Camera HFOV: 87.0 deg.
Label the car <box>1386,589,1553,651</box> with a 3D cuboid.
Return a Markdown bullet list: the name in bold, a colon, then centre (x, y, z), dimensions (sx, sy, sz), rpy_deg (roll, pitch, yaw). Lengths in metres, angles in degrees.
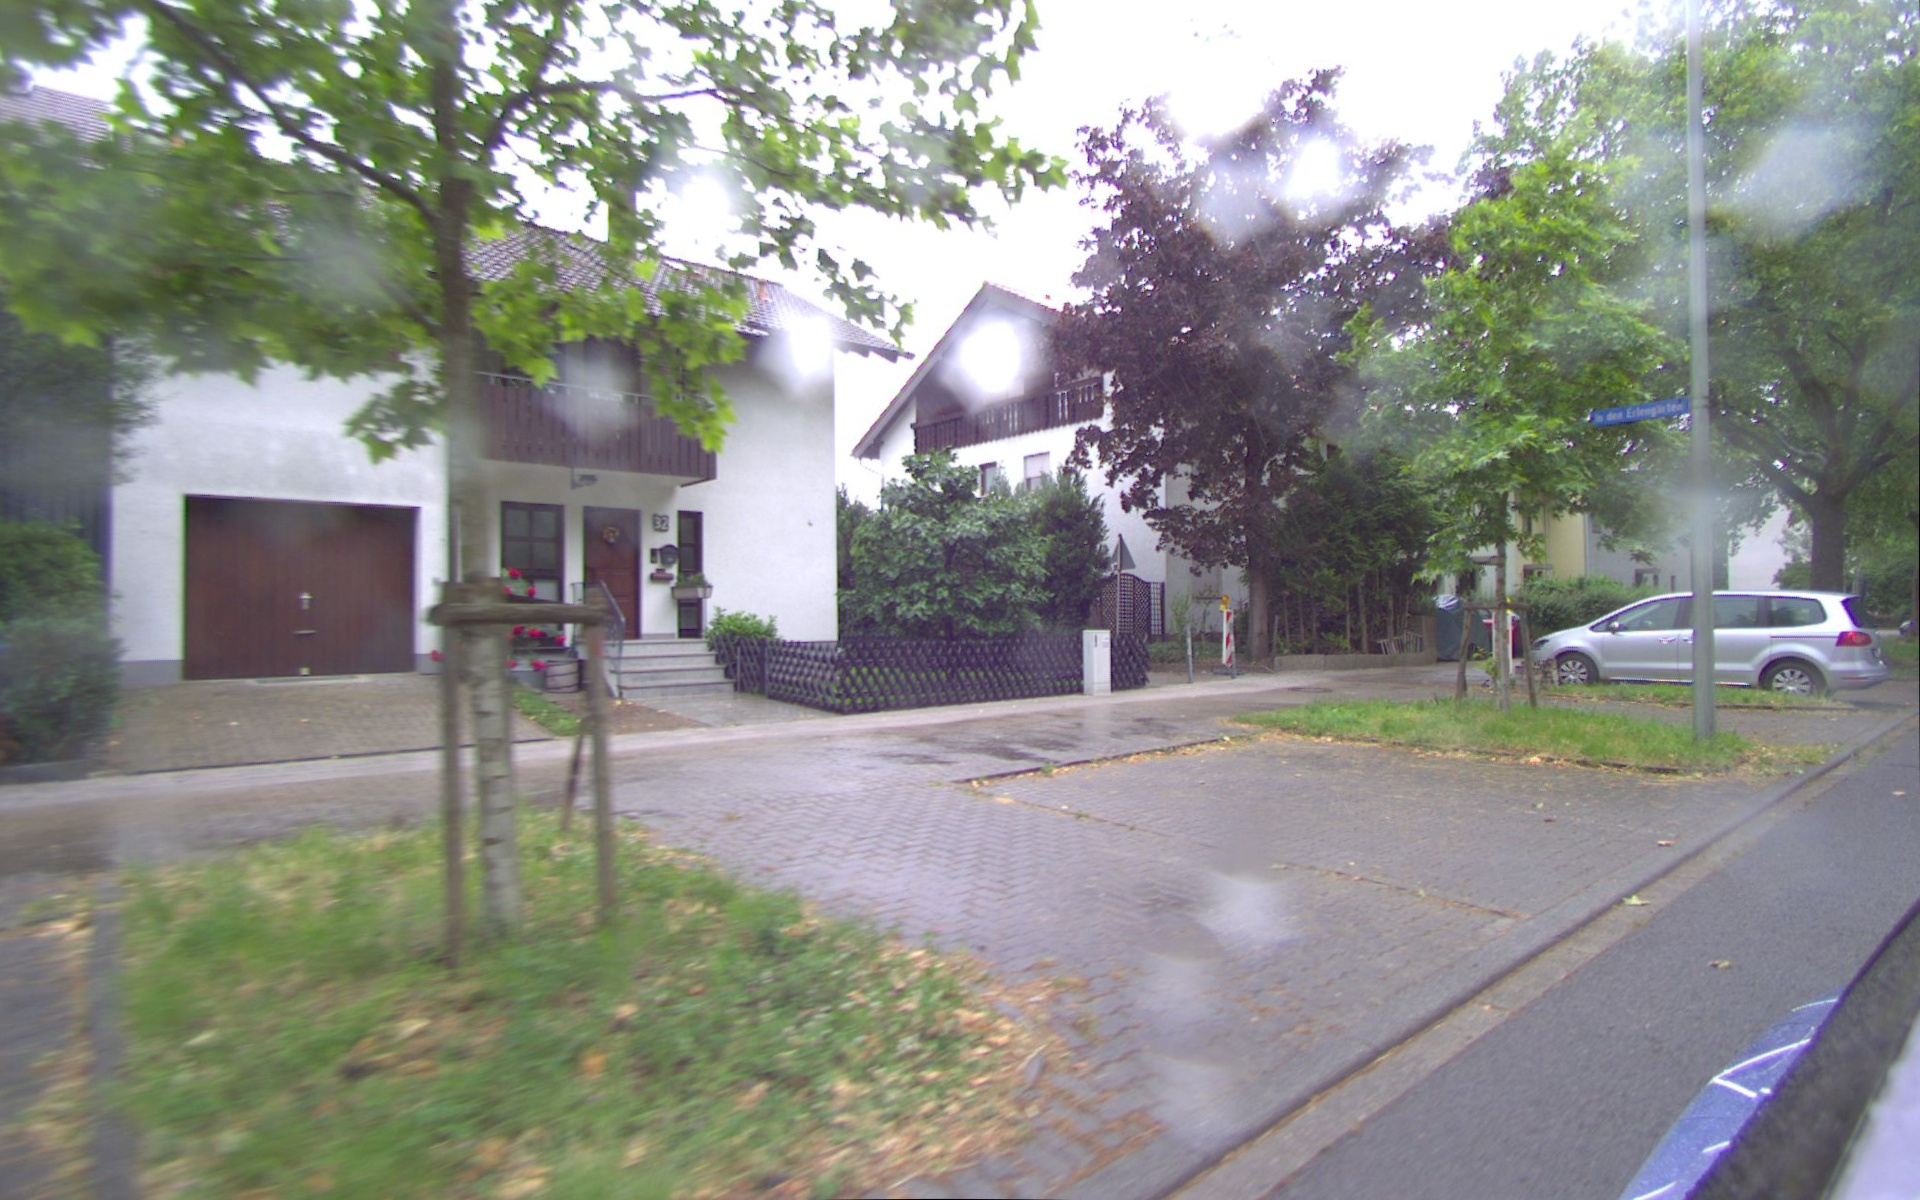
- **car**: centre (14.478, 0.540, 28.916), dimensions (1.809, 1.633, 3.853), rpy_deg (0, 0, -38)

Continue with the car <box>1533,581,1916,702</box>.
- **car**: centre (12.196, 0.579, 16.419), dimensions (1.942, 1.682, 4.695), rpy_deg (0, 0, -42)
